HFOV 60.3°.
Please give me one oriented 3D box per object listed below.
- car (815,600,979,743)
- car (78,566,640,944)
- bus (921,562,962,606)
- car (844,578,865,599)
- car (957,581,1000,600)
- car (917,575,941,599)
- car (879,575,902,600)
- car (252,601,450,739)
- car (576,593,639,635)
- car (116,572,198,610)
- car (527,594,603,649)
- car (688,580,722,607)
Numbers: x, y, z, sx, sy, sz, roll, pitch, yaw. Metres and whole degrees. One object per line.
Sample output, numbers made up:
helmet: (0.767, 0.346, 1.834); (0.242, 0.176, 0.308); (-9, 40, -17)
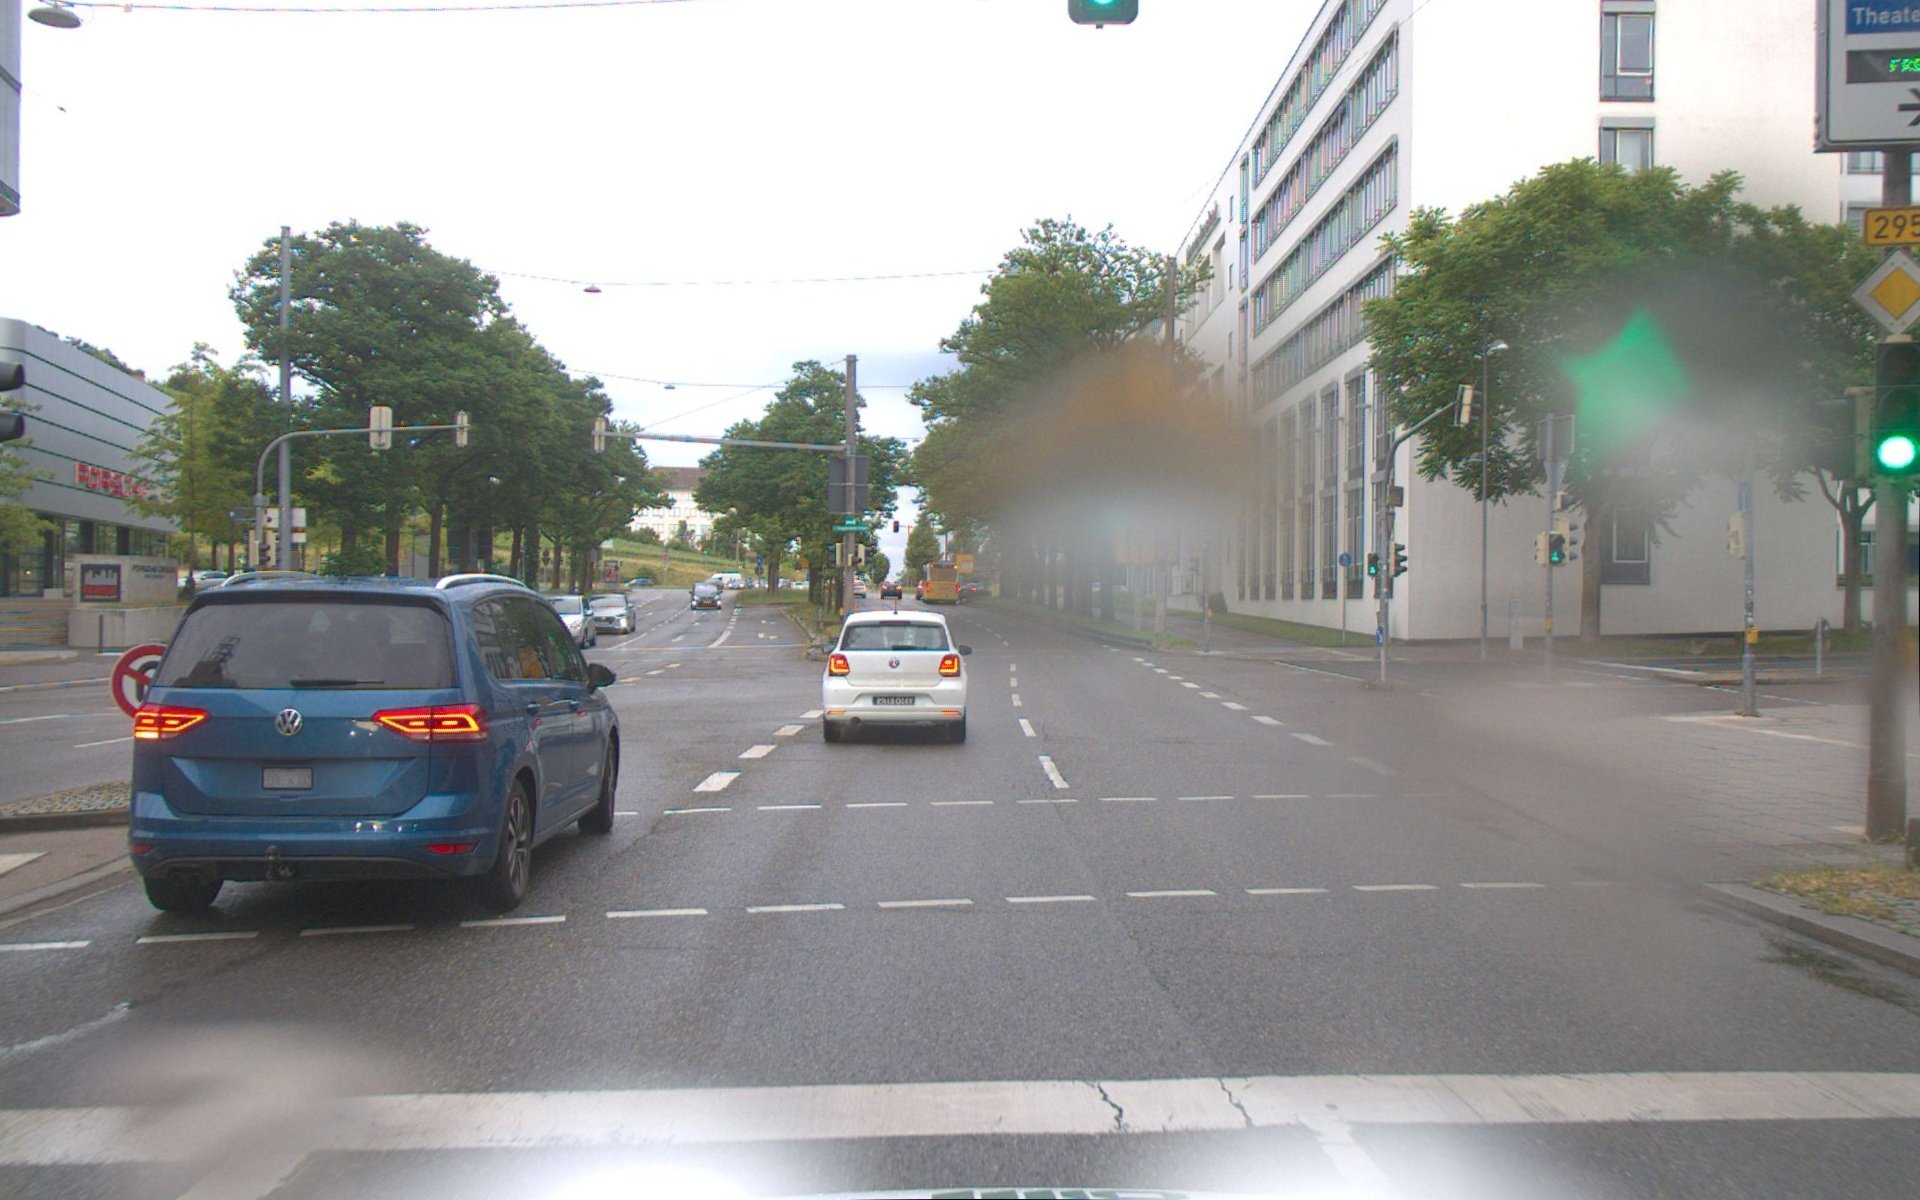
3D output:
car: (-0.748, 0.785, 19.932); (1.758, 1.528, 3.998); (1, 0, -2)
car: (-3.017, 0.679, 9.298); (1.736, 1.624, 4.195); (0, 0, -2)
bus: (-1.543, -1.291, 129.941); (2.772, 3.324, 9.994); (1, 1, -3)
car: (-9.225, -0.956, 144.021); (1.759, 1.772, 3.997); (-1, 0, -4)
car: (1.594, -0.794, 142.520); (1.670, 1.542, 3.805); (0, 0, 42)
car: (-2.729, -1.082, 143.588); (1.954, 2.049, 3.997); (0, 0, -3)
car: (-6.027, -1.078, 142.414); (1.954, 2.049, 3.997); (0, 0, -3)
car: (-7.762, 0.806, 20.870); (1.826, 1.537, 4.010); (0, 0, -28)
car: (-13.136, 0.503, 61.791); (1.779, 1.436, 4.650); (-1, 1, -6)
car: (-44.267, -0.500, 91.255); (3.933, 2.049, 1.986); (0, 1, -23)
car: (-11.864, 0.621, 49.822); (1.716, 1.547, 3.812); (-1, 1, -6)
car: (-16.033, -0.424, 104.109); (1.955, 1.644, 5.113); (0, 1, -7)
